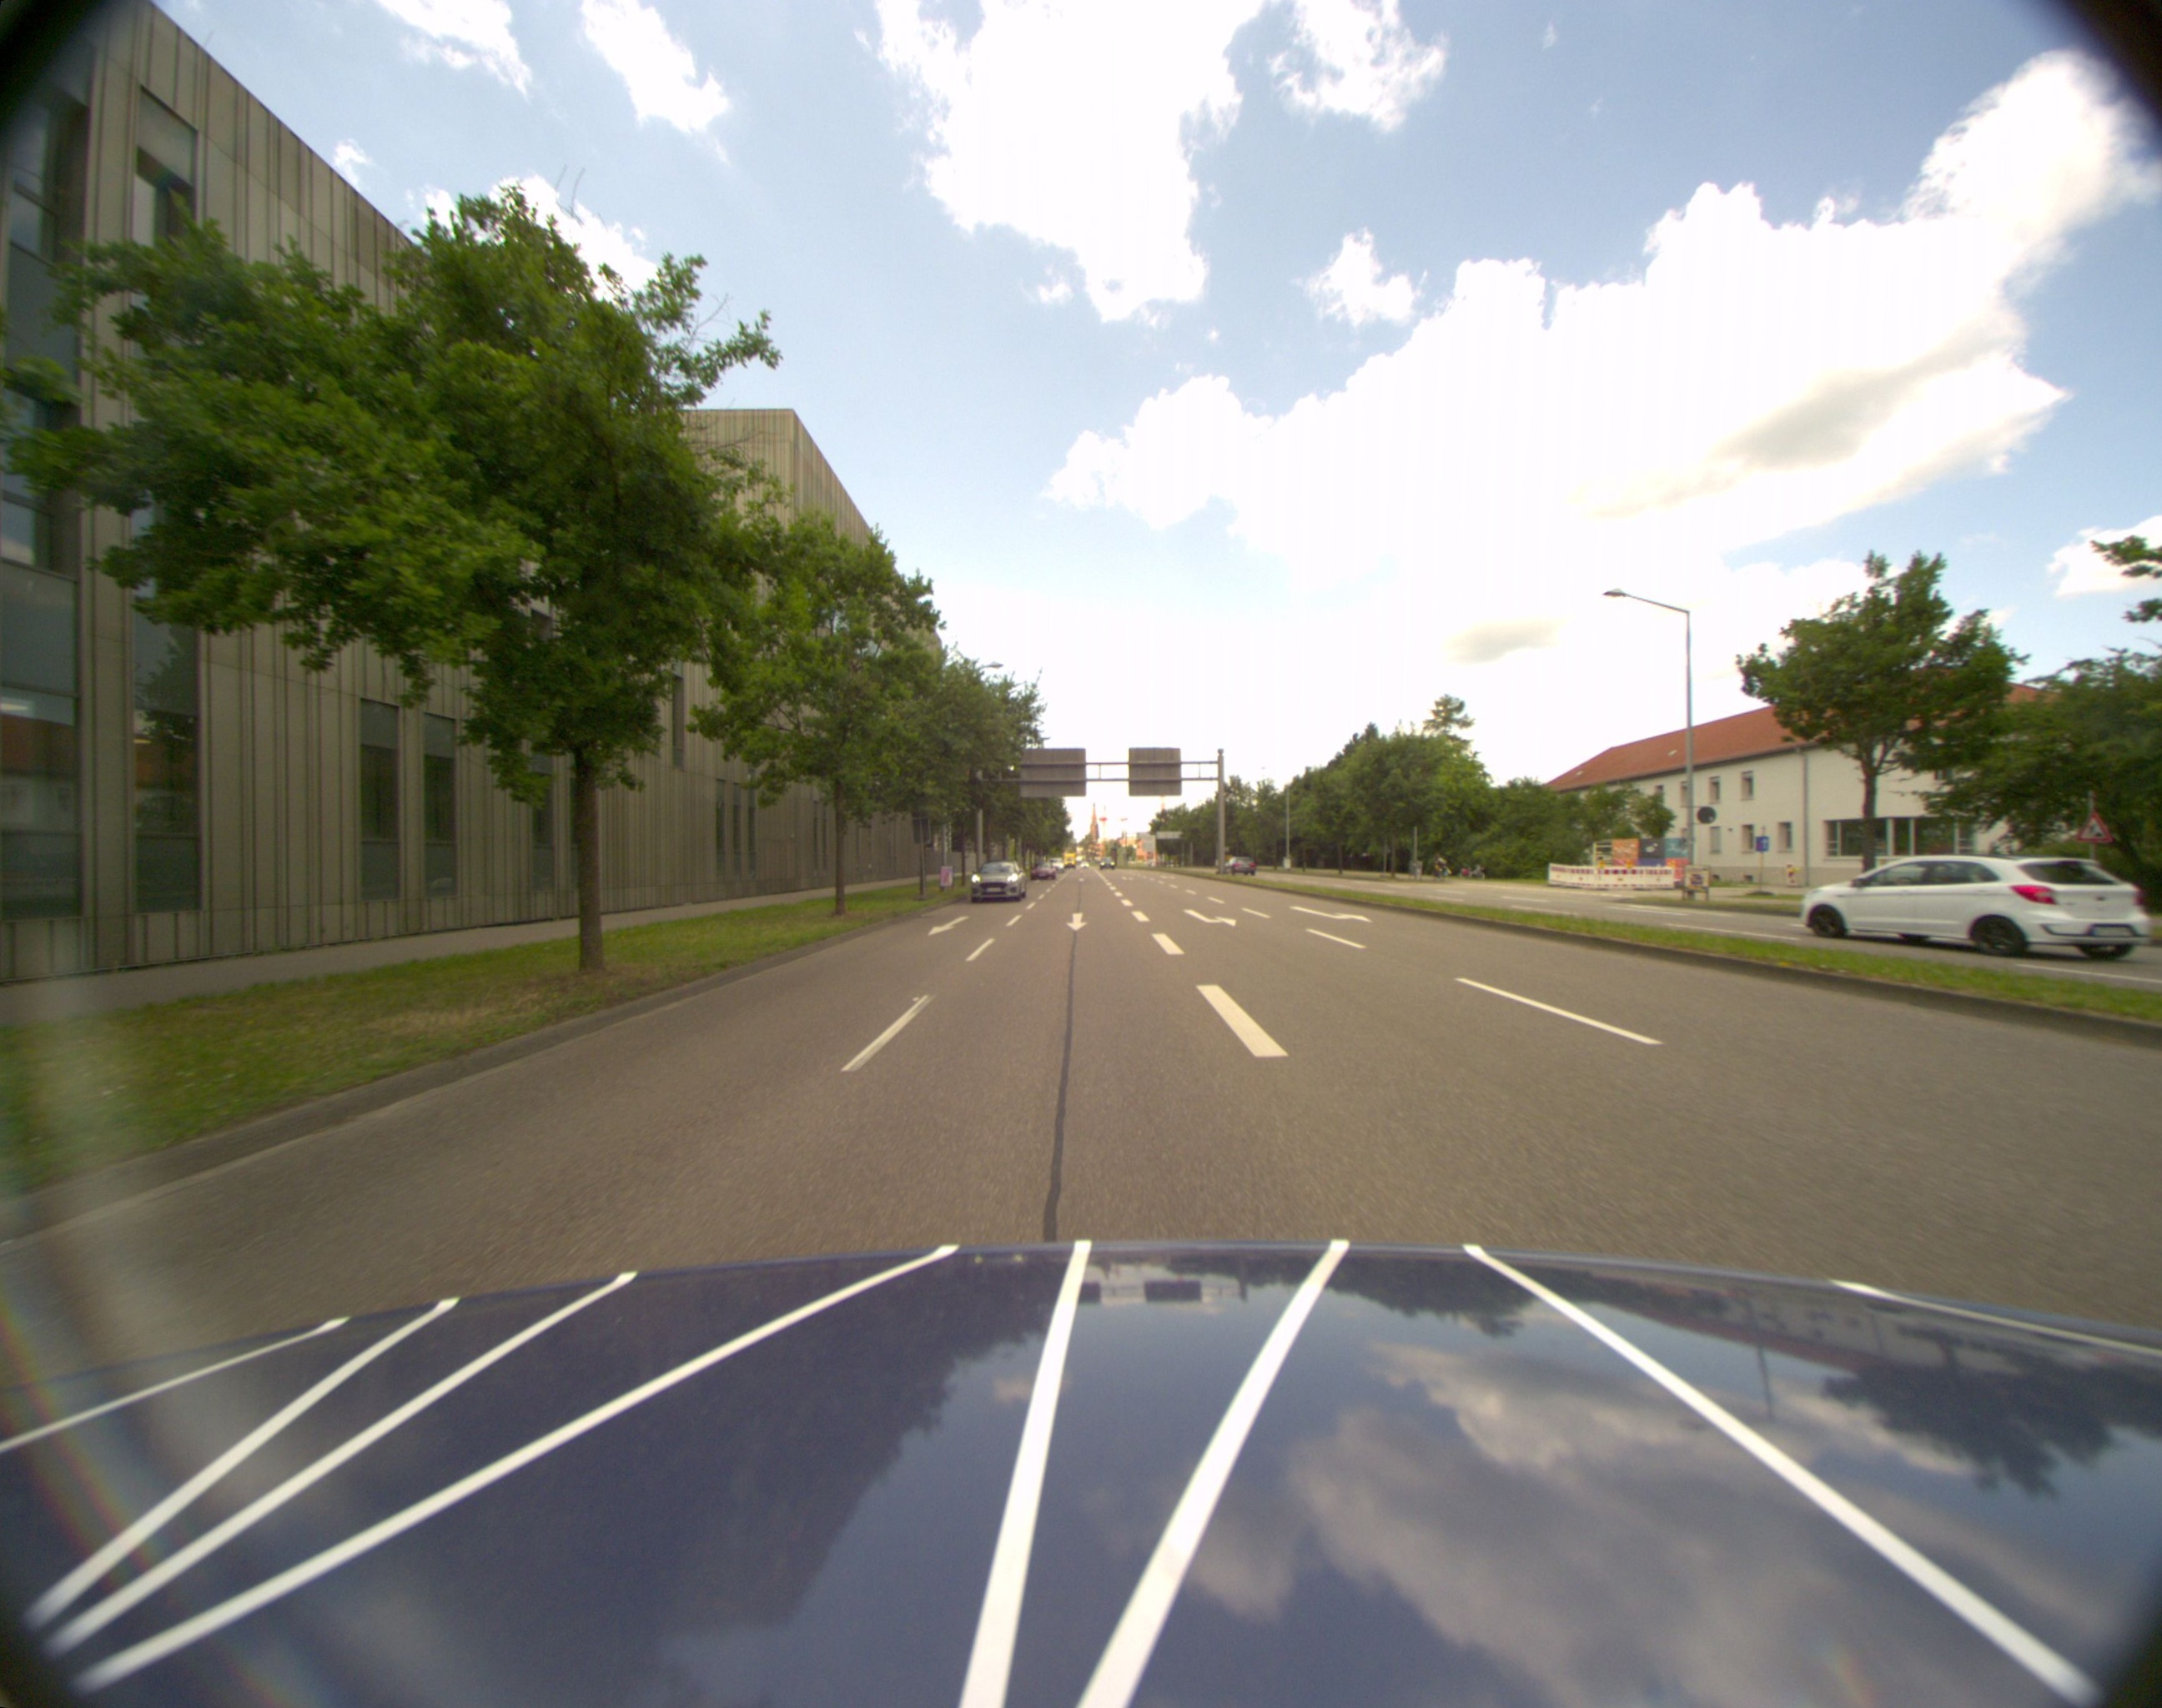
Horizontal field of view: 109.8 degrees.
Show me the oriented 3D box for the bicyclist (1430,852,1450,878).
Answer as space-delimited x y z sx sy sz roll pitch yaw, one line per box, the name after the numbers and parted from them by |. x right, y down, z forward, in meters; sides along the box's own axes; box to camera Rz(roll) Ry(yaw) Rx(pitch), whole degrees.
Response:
22.662 0.694 48.019 0.740 1.648 0.980 -1 0 -4 | bicyclist

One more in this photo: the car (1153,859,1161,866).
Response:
18.034 1.961 180.734 1.713 1.487 3.698 -1 0 1 | car

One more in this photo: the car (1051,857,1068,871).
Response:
-2.358 1.032 83.214 1.713 1.487 3.650 -1 0 0 | car

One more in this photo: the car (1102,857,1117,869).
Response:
3.607 1.156 96.387 1.782 1.487 3.598 -1 0 0 | car

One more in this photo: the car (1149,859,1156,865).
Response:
20.340 2.298 215.340 1.713 1.487 4.072 -1 0 1 | car

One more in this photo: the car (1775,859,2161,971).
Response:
14.145 0.825 12.195 1.919 1.434 4.414 1 0 0 | car

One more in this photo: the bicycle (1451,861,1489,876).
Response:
26.053 0.961 50.922 0.665 1.009 2.143 -1 1 -45 | bicycle

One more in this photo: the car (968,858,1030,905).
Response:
-3.019 0.965 28.800 1.823 1.565 3.954 -3 0 0 | car

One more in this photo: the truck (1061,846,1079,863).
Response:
-2.060 0.086 145.344 3.066 3.095 7.935 -1 0 0 | truck

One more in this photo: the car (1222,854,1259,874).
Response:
12.859 0.776 61.388 1.964 1.508 4.909 -1 0 0 | car

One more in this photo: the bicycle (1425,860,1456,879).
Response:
22.660 0.957 47.961 0.752 1.155 2.257 -1 0 -4 | bicycle
